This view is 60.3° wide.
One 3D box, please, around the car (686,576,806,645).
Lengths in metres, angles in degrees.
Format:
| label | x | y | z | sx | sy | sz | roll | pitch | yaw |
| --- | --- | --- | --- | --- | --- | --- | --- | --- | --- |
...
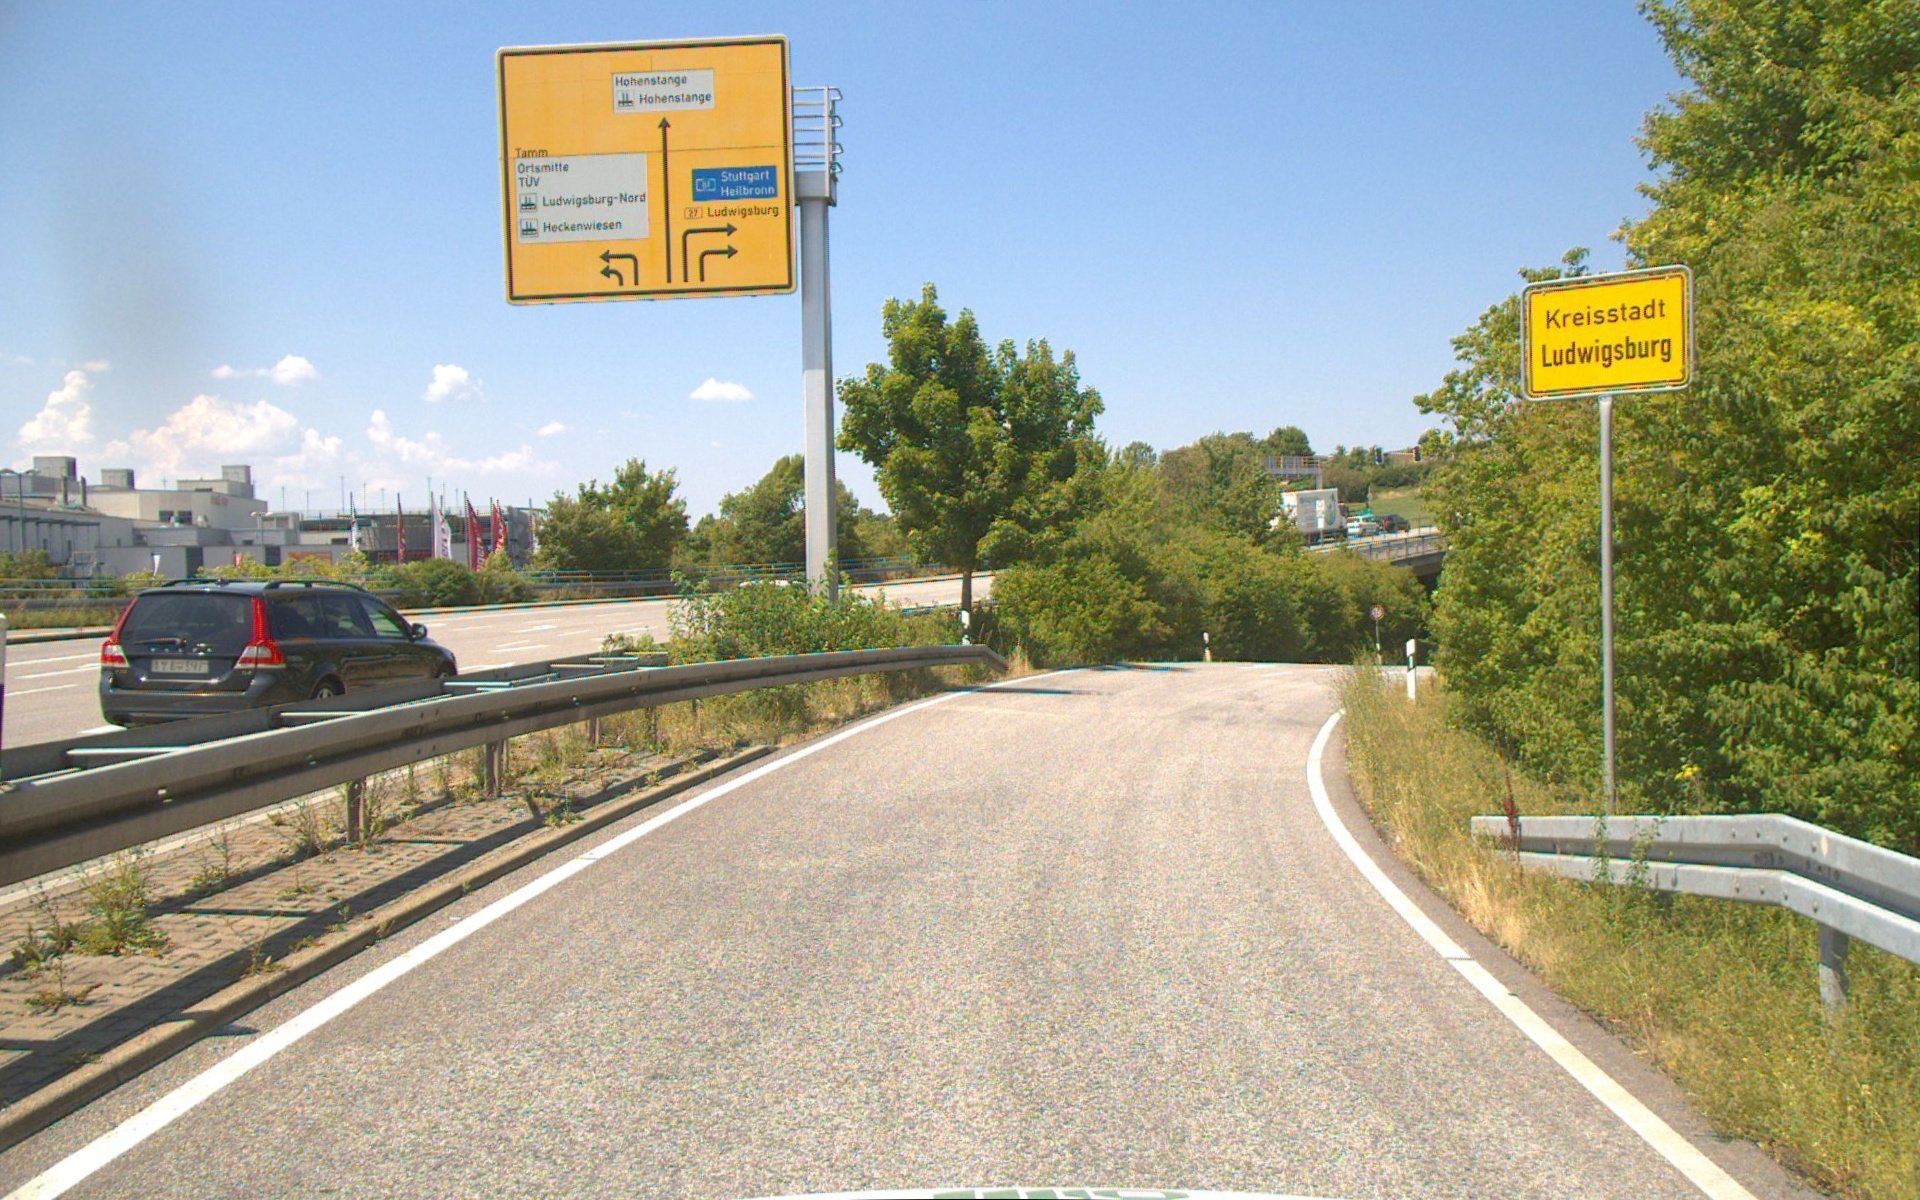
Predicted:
| label | x | y | z | sx | sy | sz | roll | pitch | yaw |
| --- | --- | --- | --- | --- | --- | --- | --- | --- | --- |
| car | -4.922 | 0.232 | 38.581 | 1.951 | 1.512 | 4.137 | 0 | 0 | 4 |

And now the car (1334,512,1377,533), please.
| label | x | y | z | sx | sy | sz | roll | pitch | yaw |
| --- | --- | --- | --- | --- | --- | --- | --- | --- | --- |
| car | 28.866 | -5.630 | 120.679 | 1.863 | 1.387 | 3.988 | 1 | 0 | 33 |

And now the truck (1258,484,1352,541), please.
| label | x | y | z | sx | sy | sz | roll | pitch | yaw |
| --- | --- | --- | --- | --- | --- | --- | --- | --- | --- |
| truck | 24.133 | -6.048 | 115.279 | 2.976 | 3.652 | 8.871 | -2 | 1 | 36 |

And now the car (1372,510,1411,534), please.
| label | x | y | z | sx | sy | sz | roll | pitch | yaw |
| --- | --- | --- | --- | --- | --- | --- | --- | --- | --- |
| car | 33.097 | -5.976 | 126.824 | 1.956 | 1.646 | 3.993 | 0 | 0 | 29 |

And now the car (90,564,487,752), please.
| label | x | y | z | sx | sy | sz | roll | pitch | yaw |
| --- | --- | --- | --- | --- | --- | --- | --- | --- | --- |
| car | -6.386 | 0.489 | 16.411 | 1.695 | 1.572 | 4.737 | -1 | 0 | 4 |
